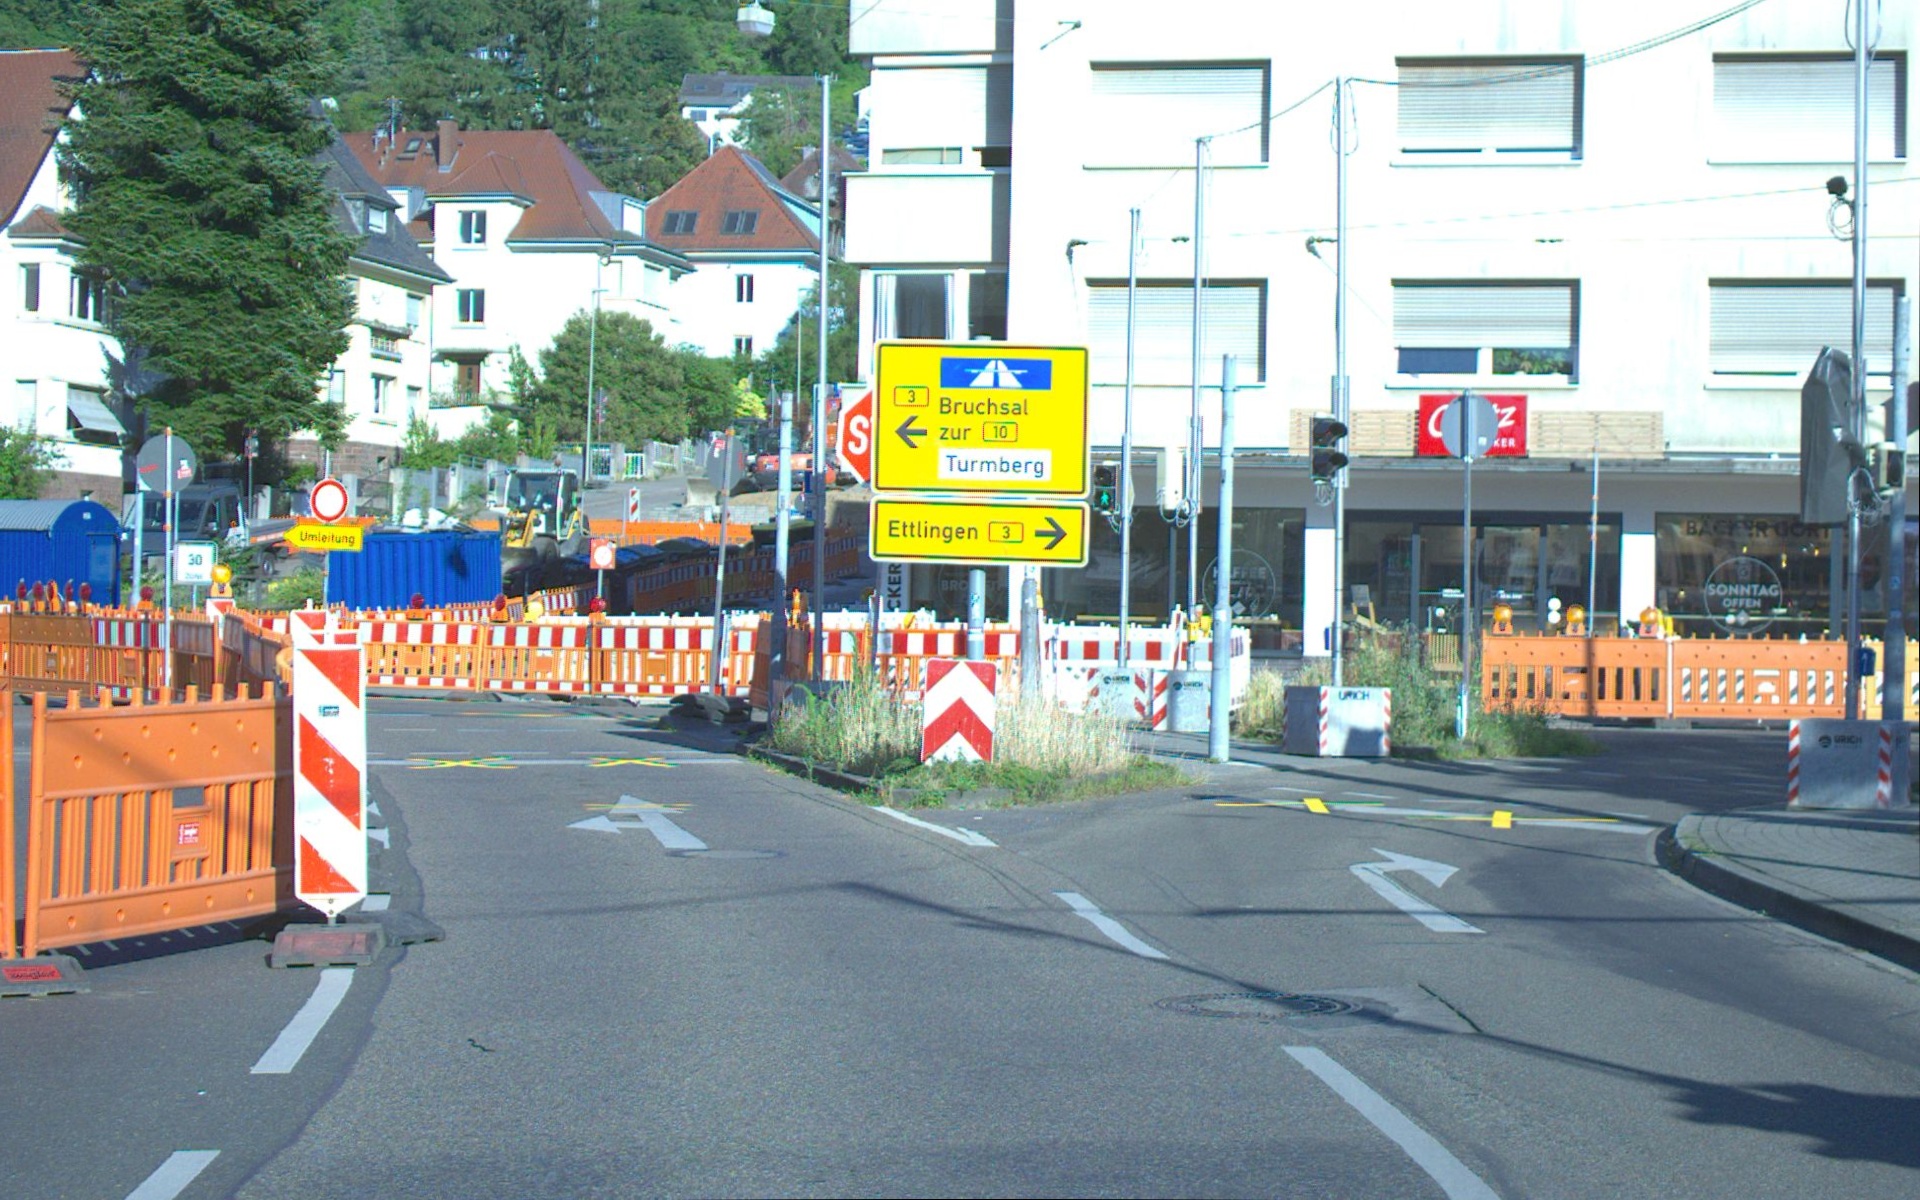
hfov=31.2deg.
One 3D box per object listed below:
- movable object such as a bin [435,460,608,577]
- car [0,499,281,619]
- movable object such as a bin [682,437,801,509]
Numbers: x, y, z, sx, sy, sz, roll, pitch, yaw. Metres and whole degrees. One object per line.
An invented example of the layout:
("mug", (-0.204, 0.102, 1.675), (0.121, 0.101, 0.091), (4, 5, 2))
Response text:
("movable object such as a bin", (-9.787, -1.799, 77.088), (1.950, 2.486, 4.547), (0, 0, 20))
("car", (-15.485, -0.728, 64.502), (2.586, 2.113, 6.144), (0, 0, 20))
("movable object such as a bin", (-7.125, -4.148, 112.938), (2.566, 2.114, 5.781), (1, 0, 10))
